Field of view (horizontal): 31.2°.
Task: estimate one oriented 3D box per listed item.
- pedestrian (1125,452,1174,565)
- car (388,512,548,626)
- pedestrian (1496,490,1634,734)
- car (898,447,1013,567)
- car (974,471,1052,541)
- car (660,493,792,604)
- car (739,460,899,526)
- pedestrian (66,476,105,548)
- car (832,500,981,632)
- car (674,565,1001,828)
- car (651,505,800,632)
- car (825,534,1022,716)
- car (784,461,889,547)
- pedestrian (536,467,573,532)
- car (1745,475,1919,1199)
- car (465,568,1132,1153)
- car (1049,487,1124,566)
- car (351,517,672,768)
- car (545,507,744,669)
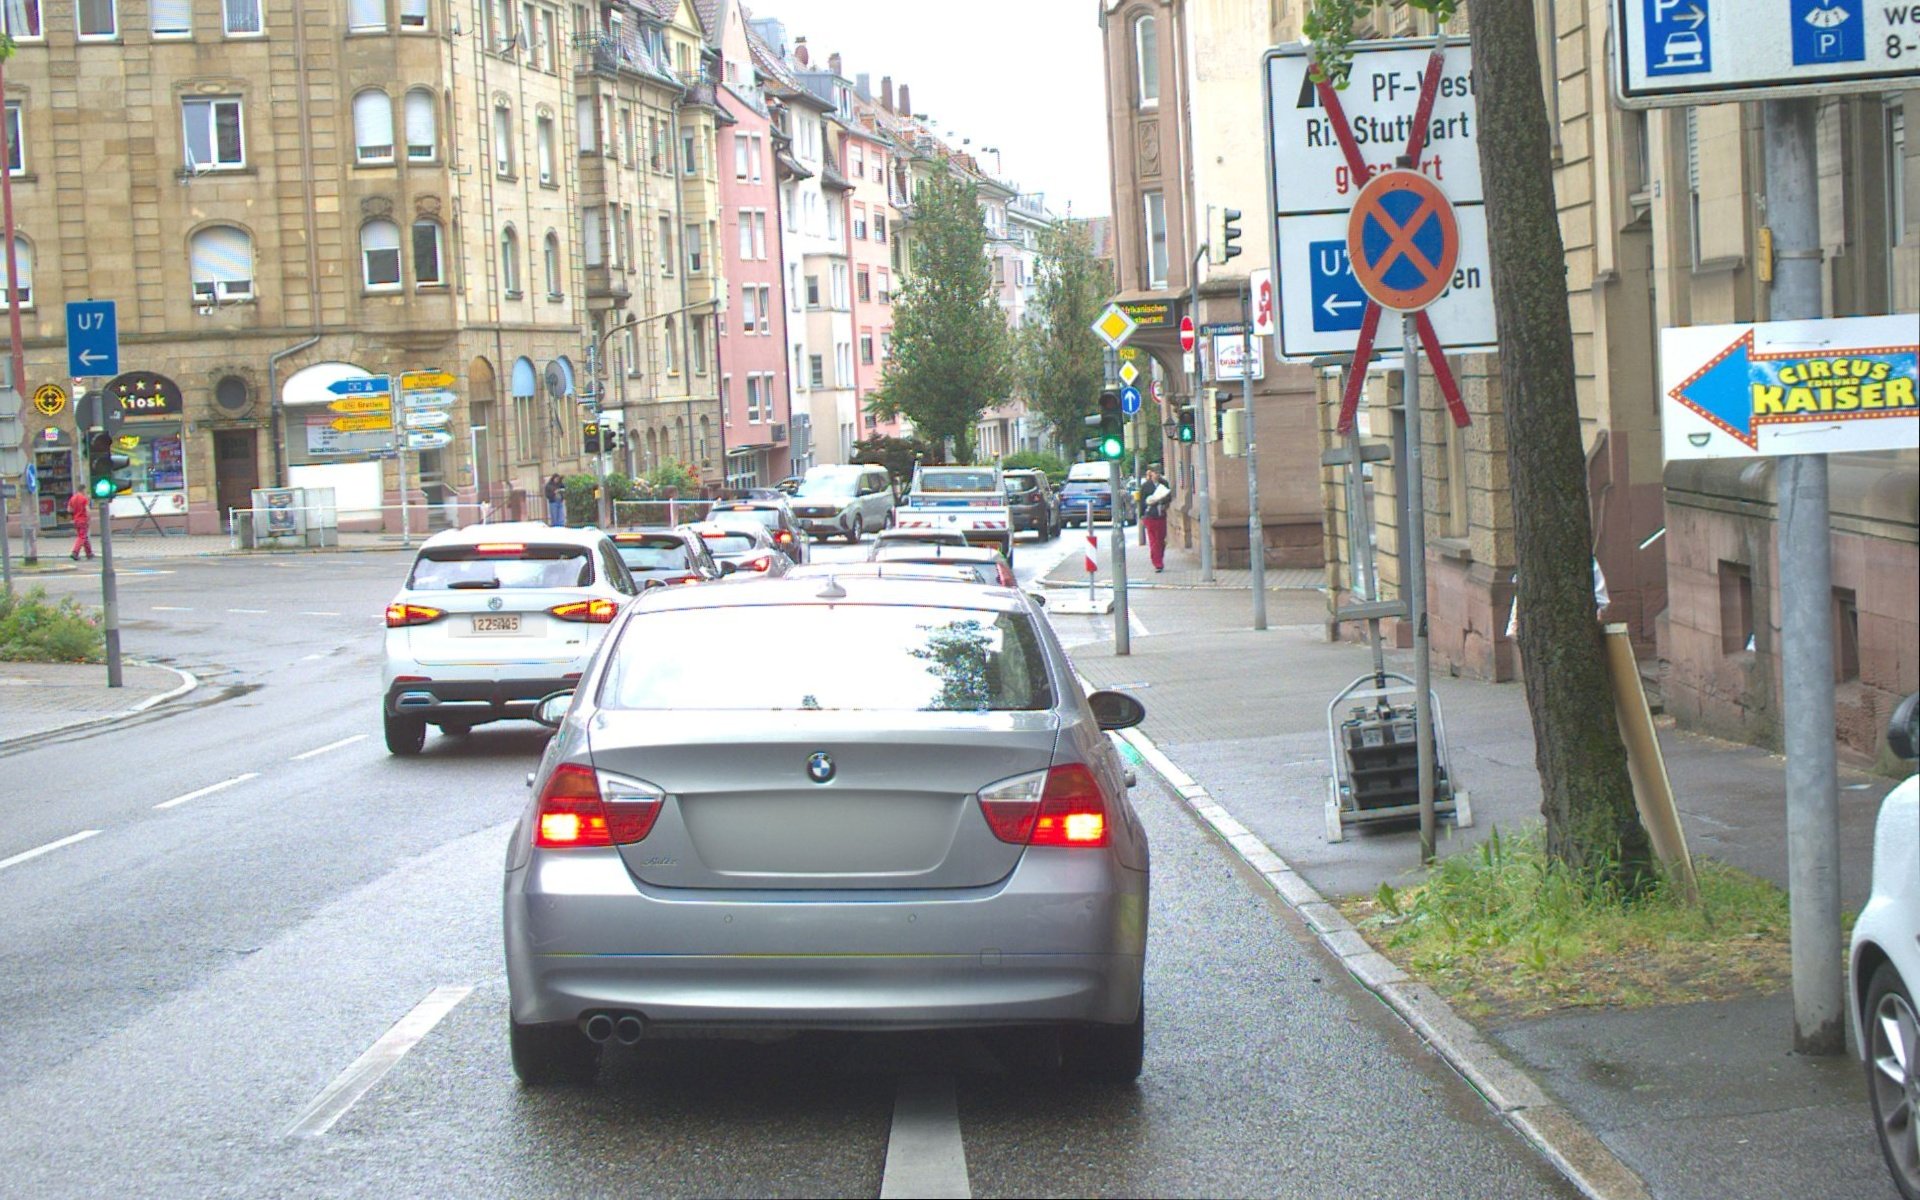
[{"bbox_3d":[3.226,-1.554,58.480,0.742,1.903,0.659,-2,1,-1],"label":"pedestrian"},{"bbox_3d":[-7.418,-0.494,52.191,1.737,1.521,4.472,-4,1,-1],"label":"car"},{"bbox_3d":[3.917,0.070,22.298,0.631,1.503,0.693,-6,1,-1],"label":"pedestrian"},{"bbox_3d":[-0.085,-1.653,62.097,1.993,2.099,4.000,0,1,0],"label":"car"},{"bbox_3d":[1.272,-2.188,80.848,1.725,1.547,4.000,1,0,2],"label":"car"},{"bbox_3d":[-3.722,-0.844,55.228,1.759,1.702,4.000,0,1,1],"label":"car"},{"bbox_3d":[-4.629,-3.529,113.745,5.176,2.007,2.699,1,0,0],"label":"car"},{"bbox_3d":[-19.271,-1.937,75.764,0.537,1.572,0.719,-2,1,7],"label":"pedestrian"},{"bbox_3d":[-0.709,-0.458,43.114,1.759,1.562,4.001,-1,2,-2],"label":"car"},{"bbox_3d":[-0.647,0.510,20.811,1.759,1.378,4.000,0,1,1],"label":"car"},{"bbox_3d":[-3.269,-0.474,48.600,1.759,1.702,4.000,0,1,1],"label":"car"},{"bbox_3d":[-0.265,0.163,29.904,1.595,1.459,4.000,0,1,1],"label":"car"},{"bbox_3d":[-2.865,-2.254,80.677,1.762,1.919,4.322,-1,1,7],"label":"car"},{"bbox_3d":[-9.958,-2.477,84.459,0.732,1.572,0.528,-1,1,9],"label":"pedestrian"},{"bbox_3d":[2.515,0.485,6.321,1.299,1.538,2.976,-6,1,0],"label":"car"},{"bbox_3d":[-0.363,0.623,10.231,1.623,1.378,3.615,0,1,1],"label":"car"},{"bbox_3d":[3.399,-1.936,91.599,1.725,2.007,3.999,1,0,6],"label":"car"},{"bbox_3d":[-3.291,0.251,25.956,1.868,1.620,4.001,-2,2,0],"label":"car"},{"bbox_3d":[-3.457,-0.175,38.290,1.759,1.702,4.000,0,1,1],"label":"car"}]
